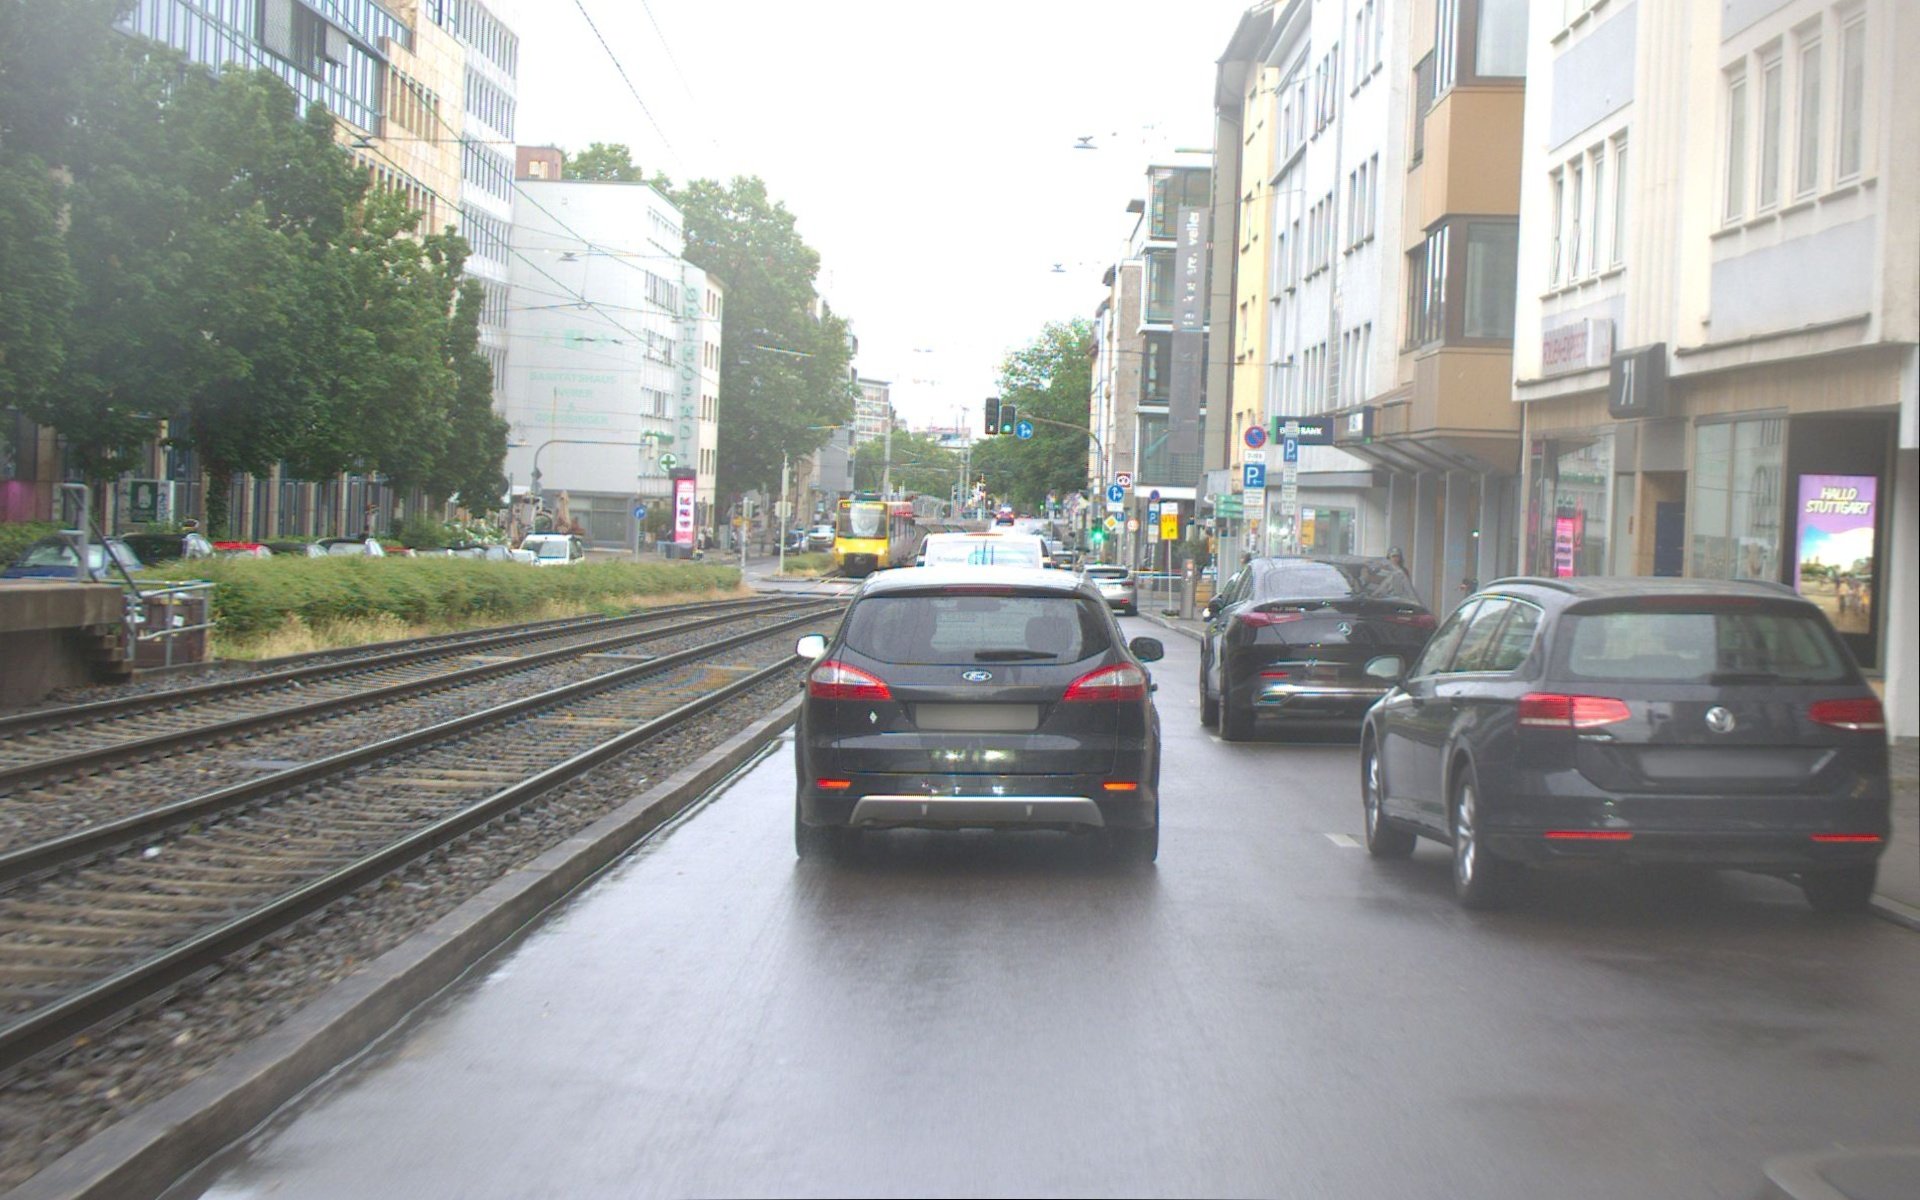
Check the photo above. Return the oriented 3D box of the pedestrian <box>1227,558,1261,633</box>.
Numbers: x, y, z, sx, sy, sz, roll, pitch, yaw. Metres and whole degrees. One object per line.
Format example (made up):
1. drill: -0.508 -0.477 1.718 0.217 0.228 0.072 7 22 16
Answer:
1. pedestrian: 5.920 -0.087 71.685 0.611 1.532 0.649 2 0 0

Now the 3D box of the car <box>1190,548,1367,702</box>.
1. car: 3.281 0.244 35.928 1.557 1.471 3.565 2 0 1

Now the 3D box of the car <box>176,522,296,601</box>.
1. car: -14.127 -0.740 67.254 1.568 1.431 4.178 2 0 -2

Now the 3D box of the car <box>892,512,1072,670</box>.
1. car: 0.340 -0.086 44.379 1.907 1.858 4.573 2 0 5

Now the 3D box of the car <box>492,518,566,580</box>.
1. car: -14.023 -1.643 112.061 1.906 1.858 4.574 2 0 -2

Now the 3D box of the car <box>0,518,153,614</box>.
1. car: -14.311 -0.537 55.749 1.568 1.431 4.178 2 0 -2

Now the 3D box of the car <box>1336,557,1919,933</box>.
1. car: 3.004 0.583 16.279 1.774 1.463 4.609 2 0 -2

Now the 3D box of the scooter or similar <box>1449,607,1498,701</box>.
1. scooter or similar: 6.092 0.633 40.821 0.209 1.079 1.234 2 0 -7

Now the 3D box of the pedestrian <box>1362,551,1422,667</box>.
1. pedestrian: 6.284 0.123 50.081 0.695 1.646 0.966 2 0 0

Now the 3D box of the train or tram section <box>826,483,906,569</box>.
1. train or tram section: -4.500 -3.457 163.673 3.513 3.764 11.332 2 0 -2

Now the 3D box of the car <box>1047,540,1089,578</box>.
1. car: 5.180 -1.949 164.828 1.906 1.628 4.573 2 0 2

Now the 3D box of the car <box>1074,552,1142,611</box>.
1. car: 4.386 -0.537 102.330 1.906 1.628 4.573 2 0 2

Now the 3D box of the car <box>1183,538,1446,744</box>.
1. car: 3.079 0.329 30.843 1.807 1.626 5.169 2 0 0

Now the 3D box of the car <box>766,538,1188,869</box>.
1. car: 0.115 0.496 17.742 1.906 1.457 3.444 2 0 1
